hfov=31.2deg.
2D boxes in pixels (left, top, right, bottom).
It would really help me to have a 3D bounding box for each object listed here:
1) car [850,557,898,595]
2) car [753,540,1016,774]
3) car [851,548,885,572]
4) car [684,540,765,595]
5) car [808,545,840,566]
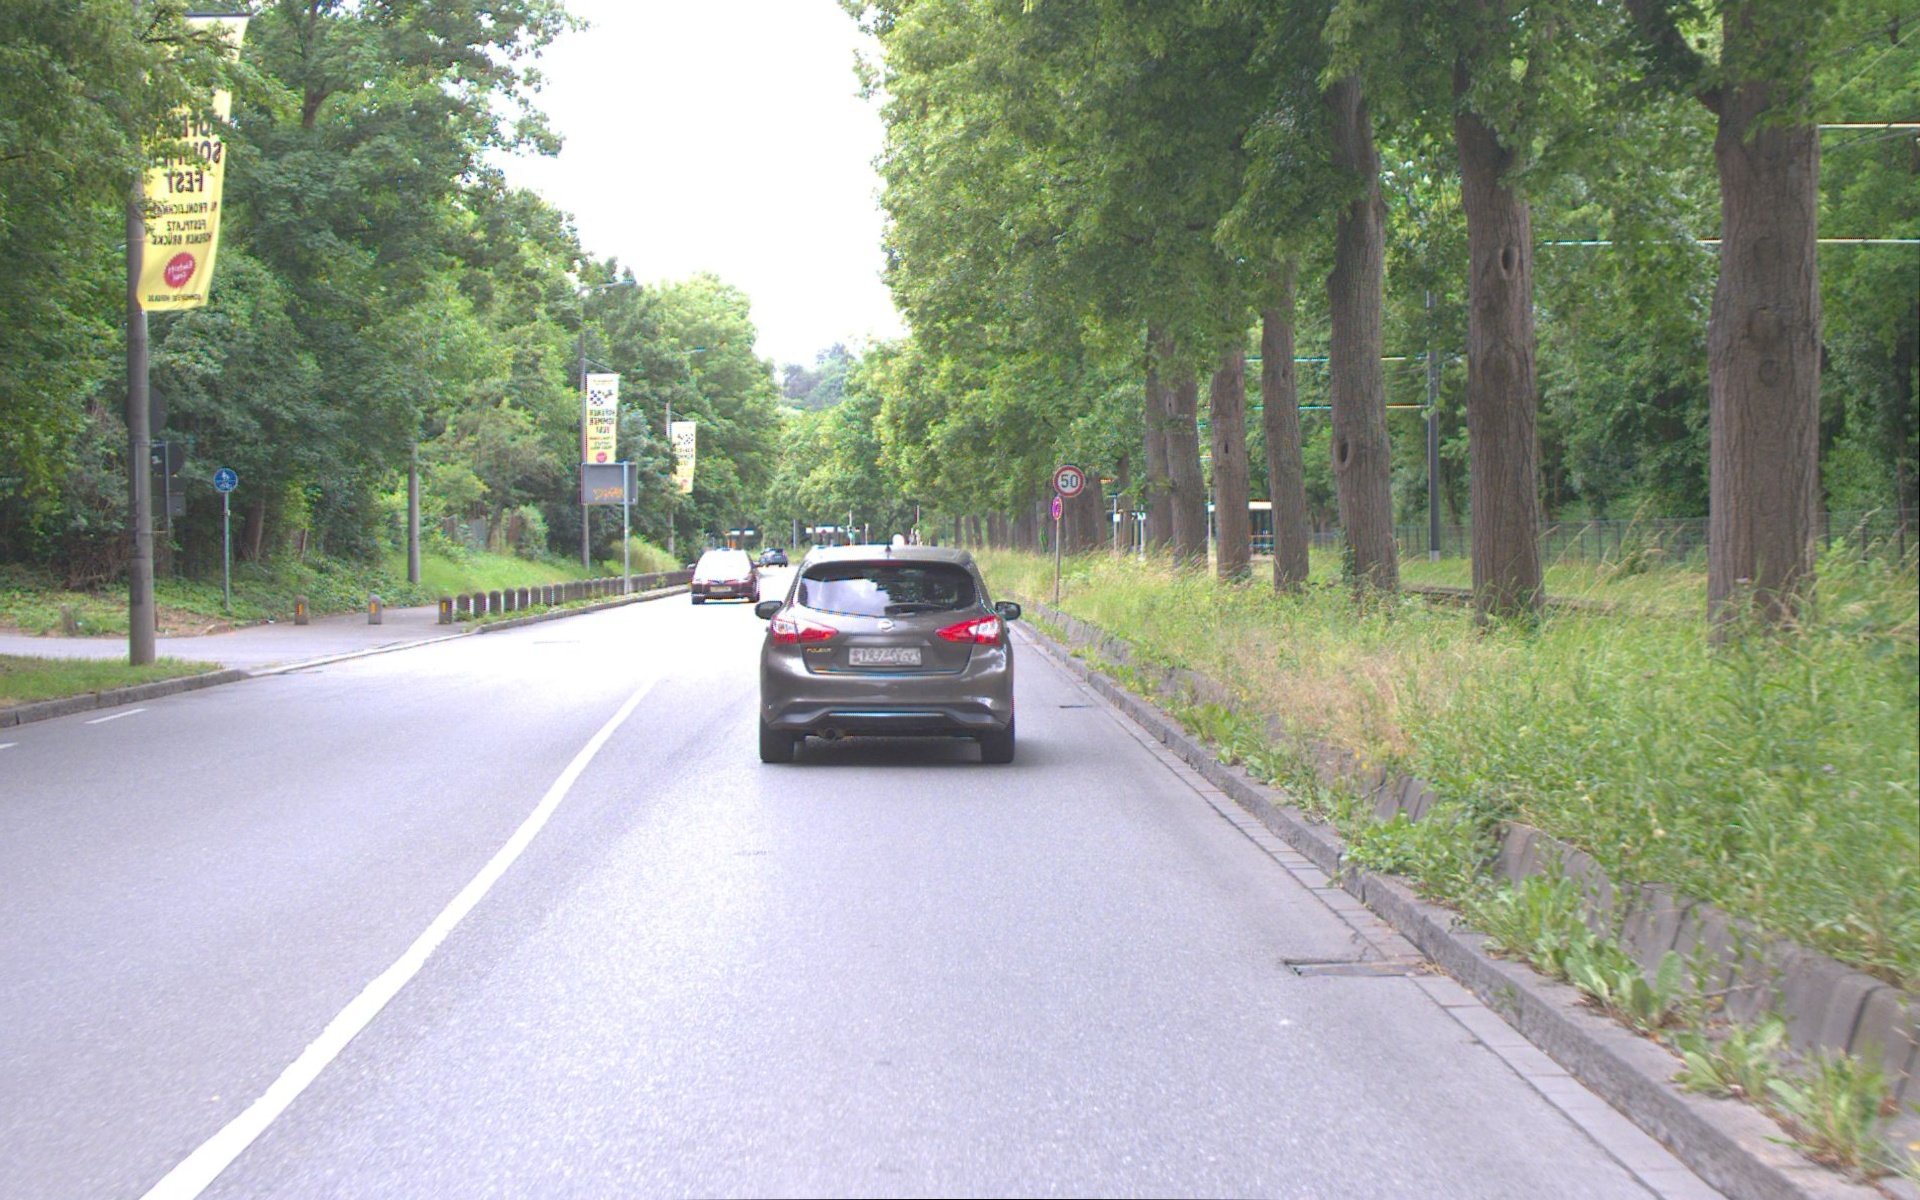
[{"bbox_3d":[-3.279,-0.925,131.686,1.561,1.436,3.551,1,1,3],"label":"car"},{"bbox_3d":[-0.551,0.358,24.787,1.730,1.532,3.552,1,1,-1],"label":"car"},{"bbox_3d":[-5.655,-2.488,211.191,1.561,1.436,3.553,1,1,-11],"label":"car"},{"bbox_3d":[-6.434,-0.891,94.157,1.716,1.423,4.197,-2,1,3],"label":"car"},{"bbox_3d":[-9.547,-3.151,241.321,1.561,1.436,3.553,1,1,-13],"label":"car"}]
